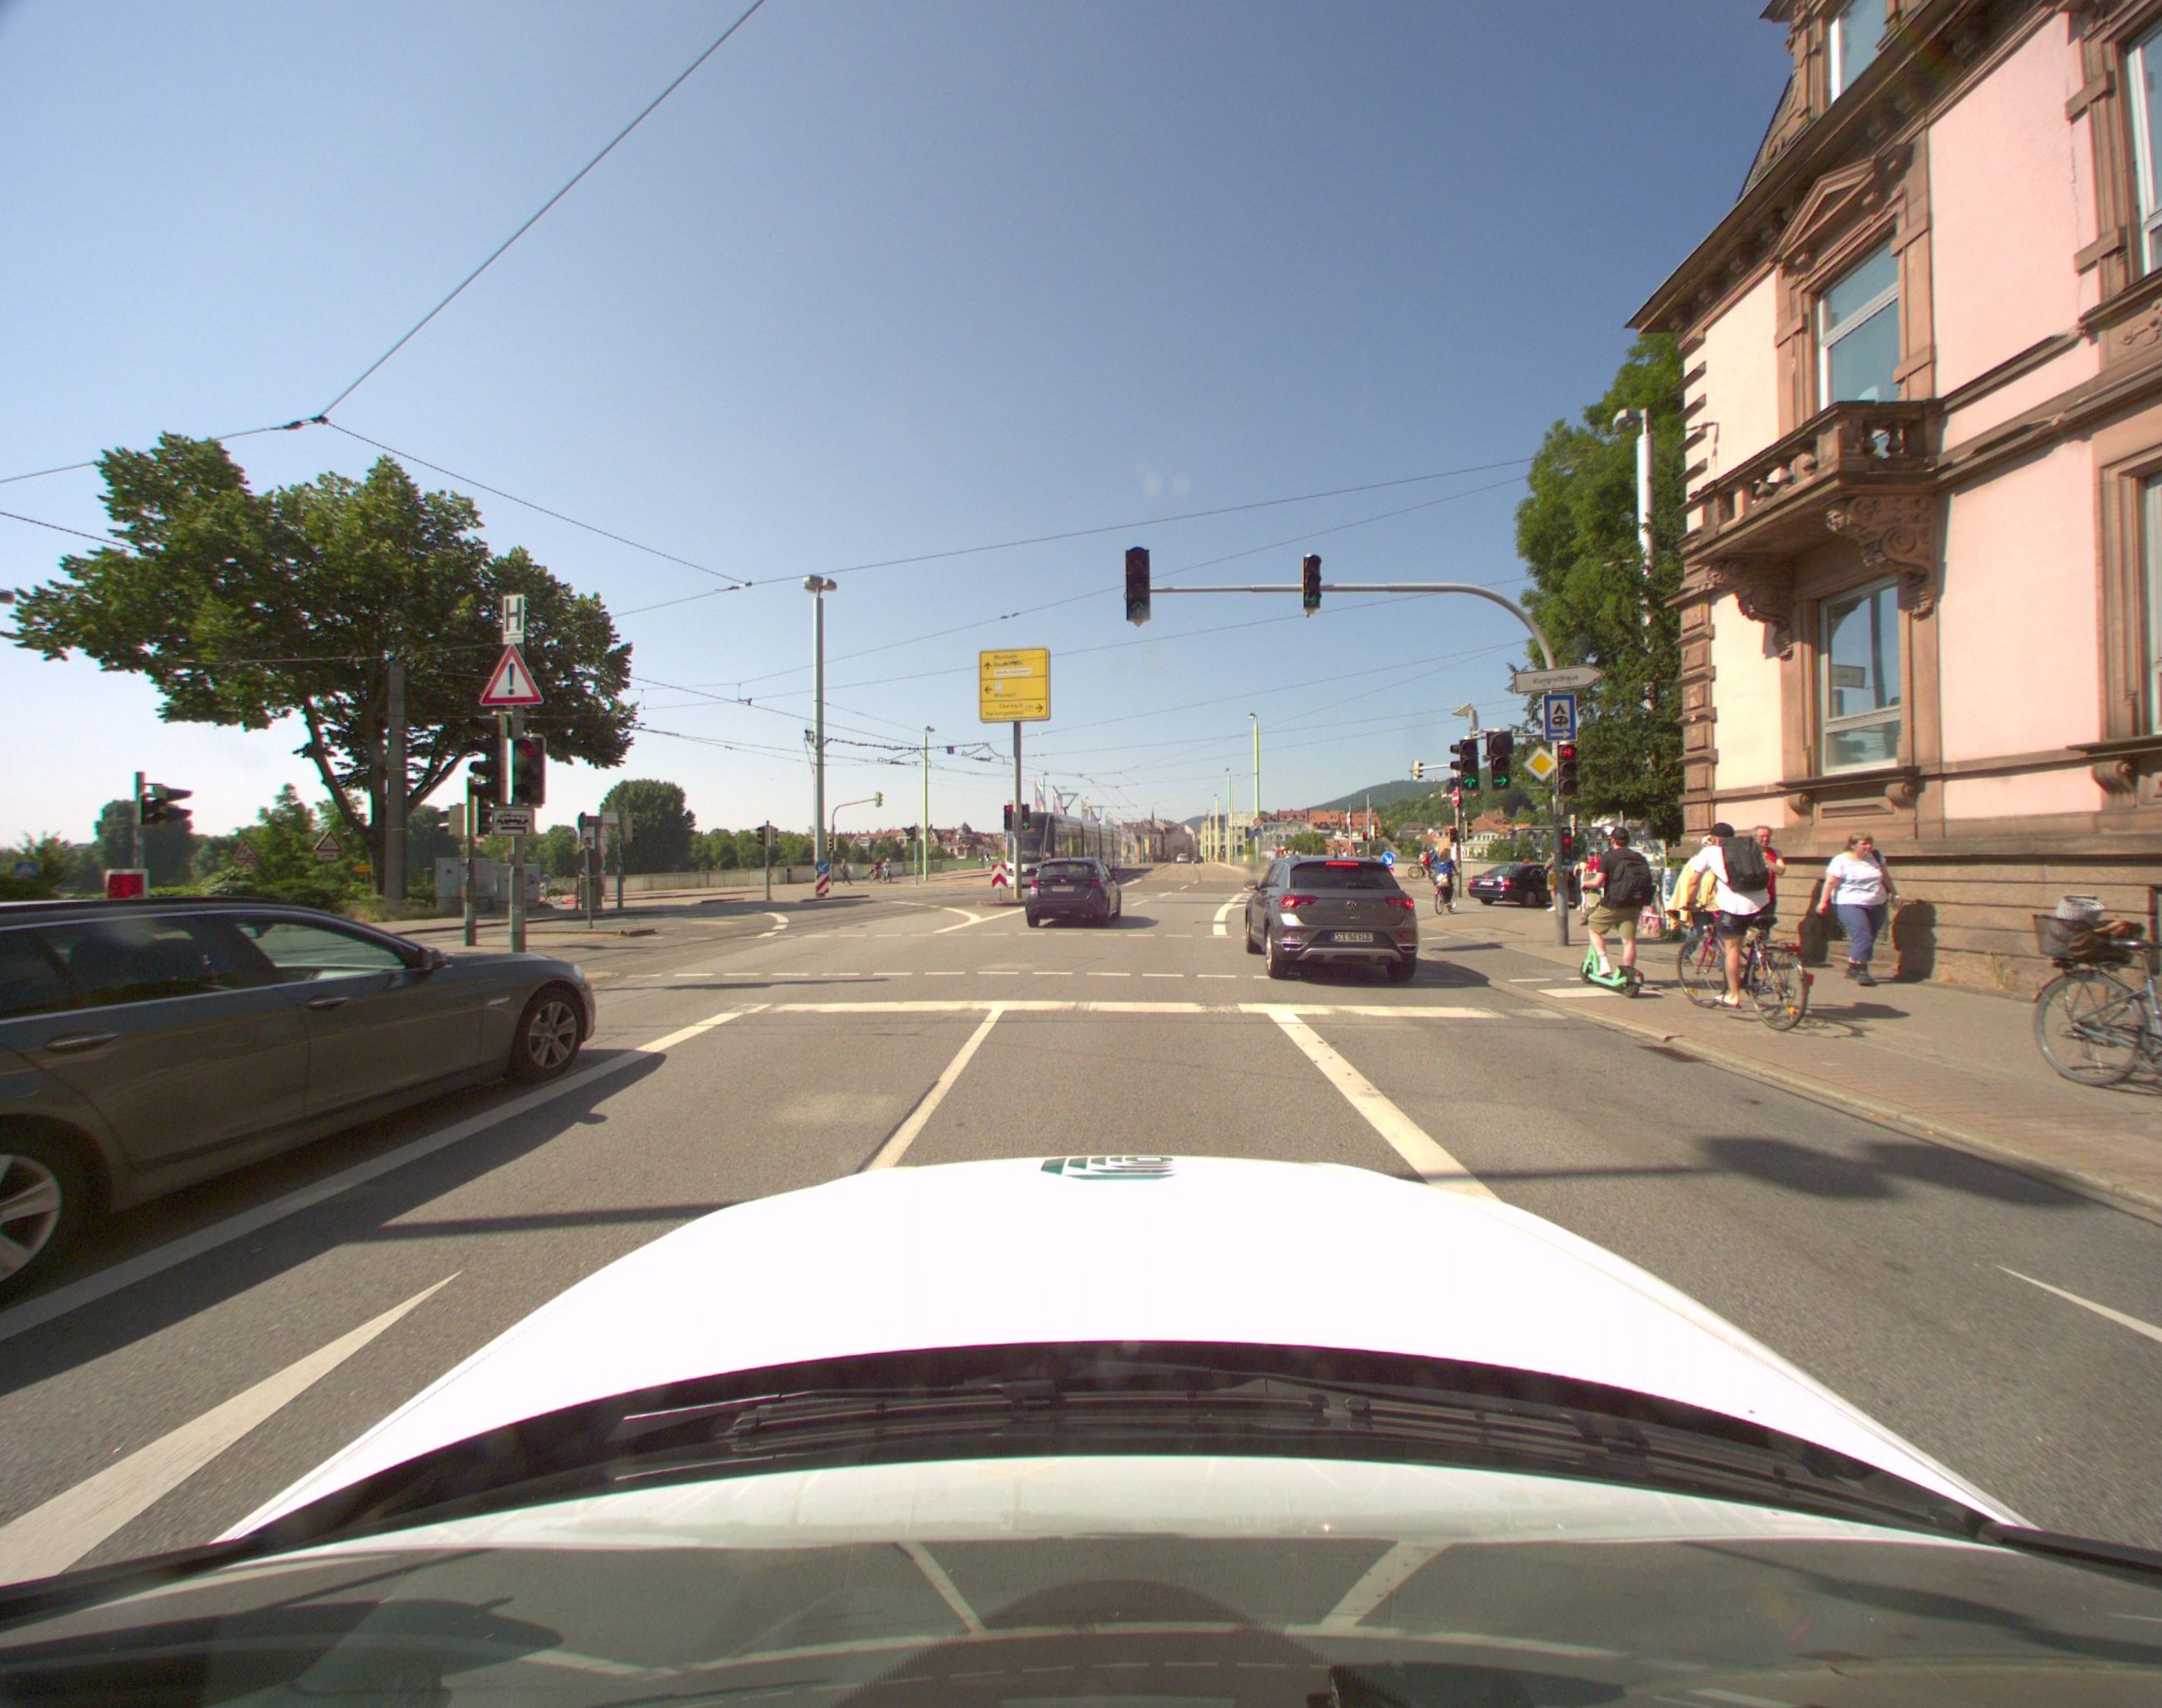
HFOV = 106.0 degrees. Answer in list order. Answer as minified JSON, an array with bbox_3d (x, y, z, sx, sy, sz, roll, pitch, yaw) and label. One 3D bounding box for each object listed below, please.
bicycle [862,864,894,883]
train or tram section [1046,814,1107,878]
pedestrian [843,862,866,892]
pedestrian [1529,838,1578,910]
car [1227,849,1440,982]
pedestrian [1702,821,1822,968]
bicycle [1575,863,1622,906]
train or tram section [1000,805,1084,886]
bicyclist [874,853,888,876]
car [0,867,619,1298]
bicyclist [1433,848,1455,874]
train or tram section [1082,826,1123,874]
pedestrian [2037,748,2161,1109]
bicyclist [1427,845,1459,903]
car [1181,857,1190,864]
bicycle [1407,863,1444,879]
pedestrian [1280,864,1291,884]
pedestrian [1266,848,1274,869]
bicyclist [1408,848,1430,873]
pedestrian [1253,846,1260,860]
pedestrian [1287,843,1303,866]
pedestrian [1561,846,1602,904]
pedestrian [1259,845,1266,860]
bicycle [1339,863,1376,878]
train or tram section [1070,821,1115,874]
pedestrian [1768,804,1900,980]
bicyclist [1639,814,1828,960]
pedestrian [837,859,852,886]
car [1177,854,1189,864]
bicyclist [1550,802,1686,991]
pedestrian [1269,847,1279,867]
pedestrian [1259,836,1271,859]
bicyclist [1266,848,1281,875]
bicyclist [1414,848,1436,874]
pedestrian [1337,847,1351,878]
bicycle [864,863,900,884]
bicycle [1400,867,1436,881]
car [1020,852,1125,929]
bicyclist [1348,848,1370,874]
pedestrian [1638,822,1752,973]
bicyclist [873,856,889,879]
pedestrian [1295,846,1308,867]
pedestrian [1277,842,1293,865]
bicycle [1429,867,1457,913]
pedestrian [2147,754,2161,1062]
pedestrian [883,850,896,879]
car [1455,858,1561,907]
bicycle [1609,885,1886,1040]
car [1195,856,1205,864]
[{"bbox_3d":[-13.490,1.297,54.114,1.972,1.209,0.636,-2,0,-15],"label":"bicycle"},{"bbox_3d":[-0.154,-0.498,53.088,2.523,3.777,9.191,-1,0,8],"label":"train or tram section"},{"bbox_3d":[-14.040,1.445,50.444,0.944,1.802,1.146,-2,0,-36],"label":"pedestrian"},{"bbox_3d":[13.639,0.553,23.546,0.772,2.013,1.060,-1,0,2],"label":"pedestrian"},{"bbox_3d":[3.286,0.702,11.438,1.922,1.516,3.996,1,0,3],"label":"car"},{"bbox_3d":[8.544,0.493,10.255,0.703,1.753,0.903,-1,-1,0],"label":"pedestrian"},{"bbox_3d":[15.524,0.943,24.469,0.793,1.206,2.286,-3,-4,24],"label":"bicycle"},{"bbox_3d":[-1.844,-0.429,43.188,2.522,3.777,9.193,-1,0,9],"label":"train or tram section"},{"bbox_3d":[-13.294,0.678,54.170,0.825,1.493,0.872,-1,0,-15],"label":"bicyclist"},{"bbox_3d":[-4.735,0.884,4.241,1.741,1.486,4.750,-2,0,2],"label":"car"},{"bbox_3d":[21.390,0.389,48.031,1.072,1.474,0.932,1,0,15],"label":"bicyclist"},{"bbox_3d":[2.046,-0.396,71.048,2.457,3.777,11.873,-1,0,7],"label":"train or tram section"},{"bbox_3d":[6.394,0.397,4.647,0.809,2.013,0.815,-3,0,1],"label":"pedestrian"},{"bbox_3d":[9.886,0.530,22.228,0.767,1.553,1.066,-1,0,25],"label":"bicyclist"},{"bbox_3d":[26.803,1.698,208.621,1.984,1.717,4.005,-1,-1,5],"label":"car"},{"bbox_3d":[20.207,1.001,47.831,1.920,0.853,0.569,1,1,30],"label":"bicycle"},{"bbox_3d":[16.545,1.625,65.975,0.651,1.650,0.868,-1,-1,2],"label":"pedestrian"},{"bbox_3d":[16.197,0.351,69.924,0.547,1.799,0.646,-1,-1,1],"label":"pedestrian"},{"bbox_3d":[20.260,0.397,48.880,1.072,1.474,0.931,1,0,13],"label":"bicyclist"},{"bbox_3d":[21.741,-0.146,100.919,0.652,1.743,0.979,-1,1,1],"label":"pedestrian"},{"bbox_3d":[17.195,0.032,65.421,0.981,1.769,1.254,-2,0,1],"label":"pedestrian"},{"bbox_3d":[15.248,0.637,24.827,0.671,1.710,0.894,-1,0,3],"label":"pedestrian"},{"bbox_3d":[19.502,-0.167,87.686,0.646,1.562,0.693,-1,0,8],"label":"pedestrian"},{"bbox_3d":[15.945,0.968,46.975,1.926,0.827,0.567,1,0,11],"label":"bicycle"},{"bbox_3d":[1.013,-0.497,61.833,2.391,3.681,9.638,-1,0,7],"label":"train or tram section"},{"bbox_3d":[8.526,0.406,9.257,0.632,1.891,0.903,-2,0,1],"label":"pedestrian"},{"bbox_3d":[5.868,0.279,7.395,0.917,1.219,0.972,-1,0,1],"label":"bicyclist"},{"bbox_3d":[-14.985,1.149,51.678,0.836,1.697,1.091,-1,0,-18],"label":"pedestrian"},{"bbox_3d":[16.300,0.786,130.307,1.795,1.469,4.004,-2,-1,4],"label":"car"},{"bbox_3d":[6.005,0.454,9.159,0.938,2.013,0.830,-1,0,1],"label":"bicyclist"},{"bbox_3d":[16.703,0.238,70.650,0.693,1.716,0.732,-1,-1,1],"label":"pedestrian"},{"bbox_3d":[16.290,-0.584,72.098,0.800,2.014,0.954,-1,-1,1],"label":"pedestrian"},{"bbox_3d":[12.384,0.481,52.441,0.670,1.744,1.151,-1,0,3],"label":"bicyclist"},{"bbox_3d":[20.213,0.407,47.828,1.069,1.474,0.767,1,0,30],"label":"bicyclist"},{"bbox_3d":[15.716,0.498,48.663,0.769,1.855,0.646,0,0,10],"label":"pedestrian"},{"bbox_3d":[-13.023,1.269,53.246,2.241,1.279,0.736,-2,0,-15],"label":"bicycle"},{"bbox_3d":[20.250,1.193,48.929,1.926,0.827,0.567,1,0,11],"label":"bicycle"},{"bbox_3d":[-0.063,0.747,18.653,1.900,1.540,4.007,-1,0,6],"label":"car"},{"bbox_3d":[16.044,0.421,46.964,1.073,1.474,0.803,1,0,11],"label":"bicyclist"},{"bbox_3d":[7.604,0.516,10.125,0.703,1.769,0.903,-1,0,0],"label":"pedestrian"},{"bbox_3d":[-13.085,0.852,53.237,1.005,1.449,0.812,-2,0,-15],"label":"bicyclist"},{"bbox_3d":[17.142,0.170,63.342,0.796,1.635,0.950,-1,0,1],"label":"pedestrian"},{"bbox_3d":[15.932,-0.052,63.691,0.981,1.750,0.930,-1,-1,1],"label":"pedestrian"},{"bbox_3d":[9.891,0.950,22.234,0.609,1.164,2.263,-1,0,26],"label":"bicycle"},{"bbox_3d":[7.158,0.361,4.836,0.658,2.013,0.700,-3,0,1],"label":"pedestrian"},{"bbox_3d":[-13.815,0.754,58.738,0.900,2.013,0.830,-1,0,-15],"label":"pedestrian"},{"bbox_3d":[14.642,0.914,27.861,4.022,1.436,1.976,-2,1,-43],"label":"car"},{"bbox_3d":[5.879,0.882,7.409,0.776,1.102,2.139,-1,0,1],"label":"bicycle"},{"bbox_3d":[23.440,1.161,160.339,1.793,1.469,4.010,-2,-1,9],"label":"car"}]
